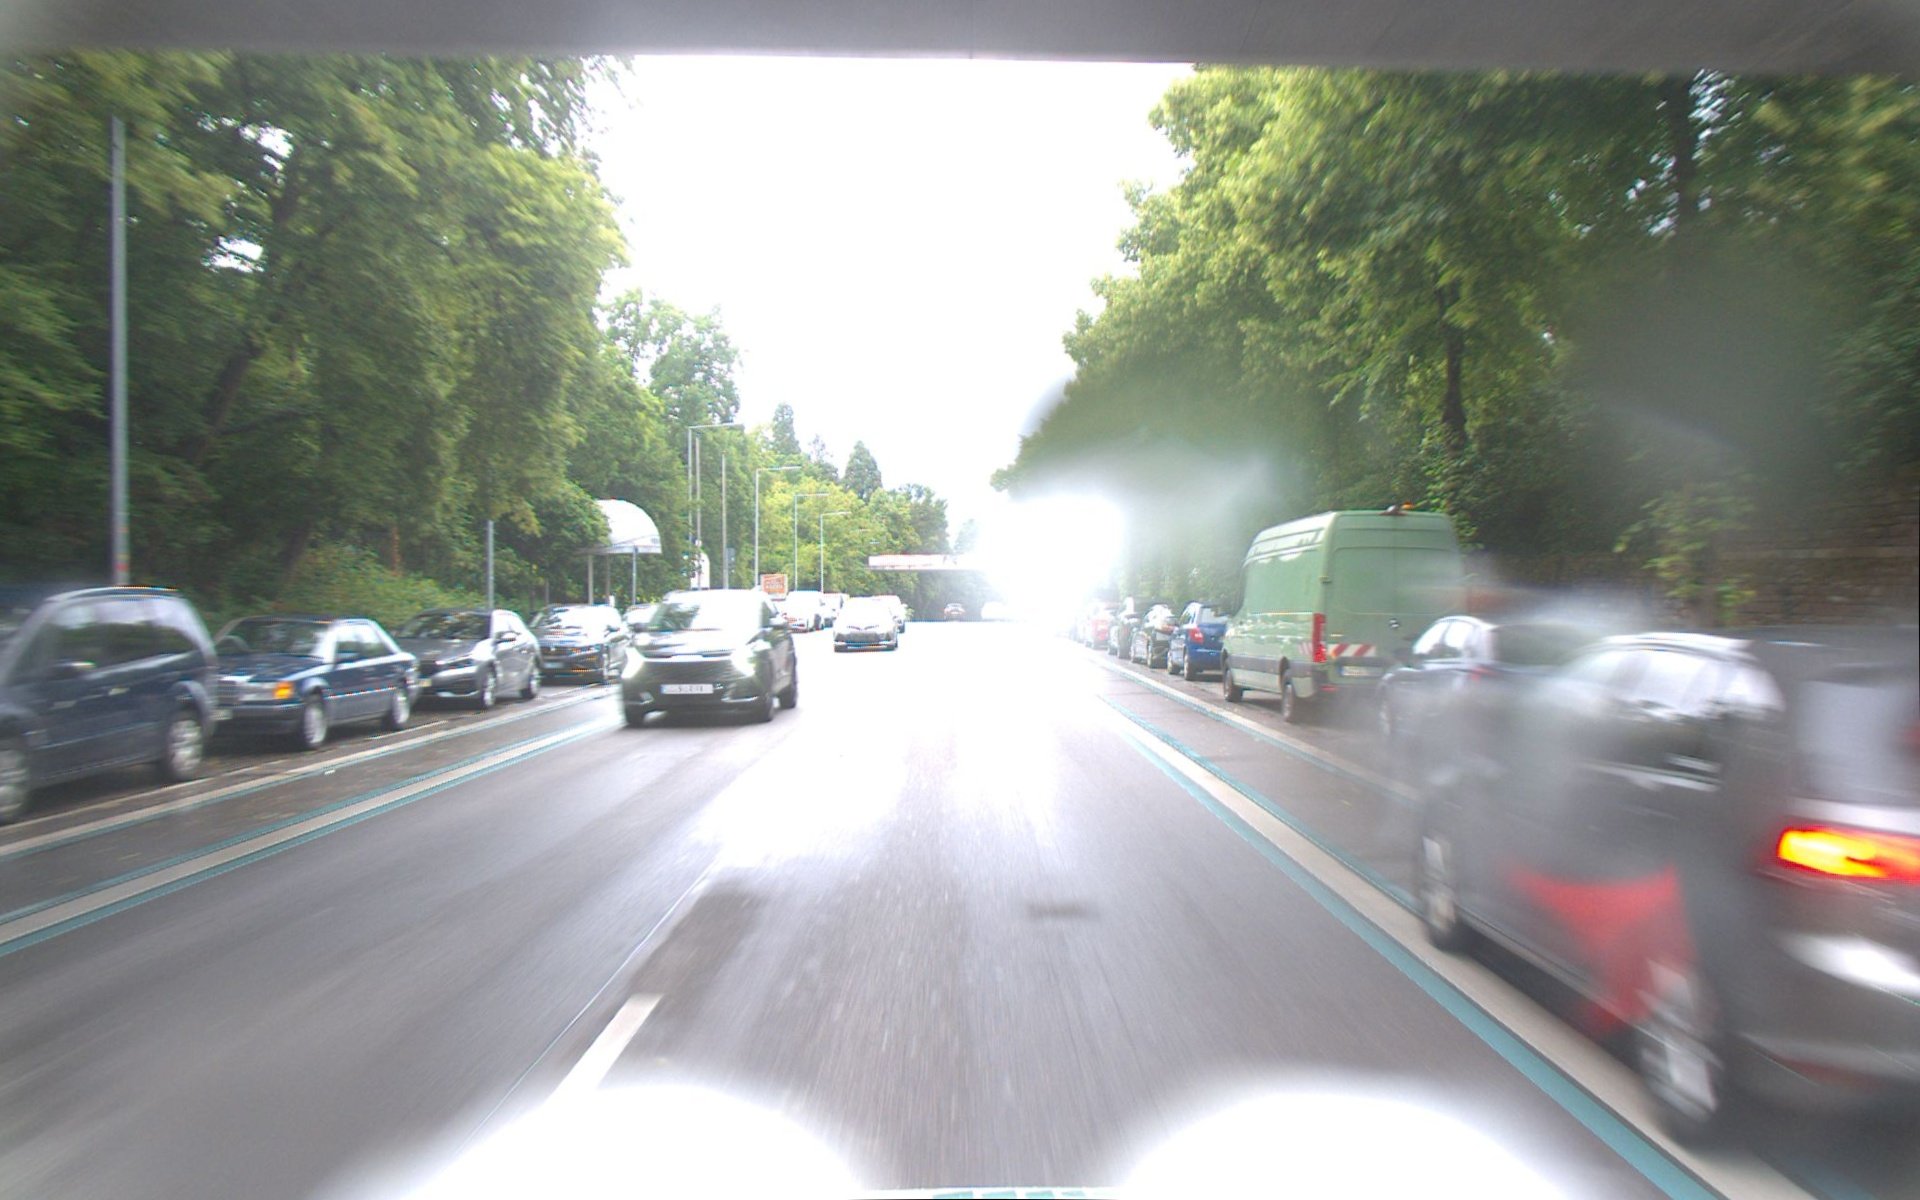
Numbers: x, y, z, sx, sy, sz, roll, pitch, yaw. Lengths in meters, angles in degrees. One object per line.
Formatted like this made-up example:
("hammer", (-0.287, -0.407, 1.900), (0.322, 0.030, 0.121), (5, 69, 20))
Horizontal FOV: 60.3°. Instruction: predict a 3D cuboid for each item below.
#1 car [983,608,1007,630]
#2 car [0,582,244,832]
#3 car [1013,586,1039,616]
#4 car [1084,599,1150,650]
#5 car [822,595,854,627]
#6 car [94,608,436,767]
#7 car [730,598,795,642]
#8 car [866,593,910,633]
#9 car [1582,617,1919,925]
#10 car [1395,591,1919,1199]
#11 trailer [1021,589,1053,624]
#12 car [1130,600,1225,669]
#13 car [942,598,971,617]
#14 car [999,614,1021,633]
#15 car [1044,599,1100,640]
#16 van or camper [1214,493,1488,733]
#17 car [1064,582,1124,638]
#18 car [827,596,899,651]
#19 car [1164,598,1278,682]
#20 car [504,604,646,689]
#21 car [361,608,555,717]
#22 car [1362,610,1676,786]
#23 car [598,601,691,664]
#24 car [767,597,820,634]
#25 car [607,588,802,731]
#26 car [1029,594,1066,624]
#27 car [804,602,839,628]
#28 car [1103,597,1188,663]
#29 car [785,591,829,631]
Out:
("car", (2.579, 1.408, 122.877), (1.696, 1.611, 4.036), (-1, 0, -1))
("car", (-7.815, 0.749, 13.356), (1.949, 1.772, 4.838), (0, 1, 0))
("car", (4.872, 0.095, 122.454), (1.850, 2.164, 4.045), (1, 0, 1))
("car", (4.859, 0.748, 51.701), (1.651, 1.478, 4.165), (1, 0, 0))
("car", (-7.936, 0.688, 107.665), (1.845, 1.979, 4.825), (0, 1, -2))
("car", (-7.769, 0.897, 19.092), (1.943, 1.498, 4.896), (1, 1, -1))
("car", (-7.192, 0.698, 60.609), (2.036, 1.508, 4.670), (1, 0, -3))
("car", (-3.197, 0.567, 74.100), (1.759, 1.680, 4.129), (-1, 0, 0))
("car", (5.496, 0.863, 10.259), (1.651, 1.441, 4.196), (0, 0, -1))
("car", (2.948, 0.740, 5.843), (1.781, 1.534, 4.139), (0, 0, 1))
("trailer", (4.900, 0.396, 105.663), (1.845, 2.204, 3.808), (-1, 0, 0))
("car", (5.030, 0.760, 38.654), (1.651, 1.481, 4.146), (1, 0, 0))
("car", (-0.304, 0.592, 135.743), (2.098, 1.518, 4.495), (1, 0, -4))
("car", (4.077, 1.913, 134.322), (1.695, 1.488, 4.045), (-1, 0, 1))
("car", (4.536, 0.763, 67.393), (1.753, 1.570, 4.887), (1, 0, -2))
("van or camper", (5.153, 0.143, 22.980), (2.001, 2.777, 6.899), (1, 0, -1))
("car", (5.007, 0.357, 62.514), (1.887, 2.057, 4.663), (0, 0, 0))
("car", (-2.858, 0.671, 49.556), (1.882, 1.588, 4.620), (0, 0, 0))
("car", (5.162, 0.758, 33.124), (1.651, 1.540, 3.835), (1, 0, 0))
("car", (-7.551, 0.862, 32.885), (1.917, 1.488, 4.754), (0, 1, -3))
("car", (-7.610, 0.894, 25.490), (1.748, 1.448, 4.295), (0, 1, -1))
("car", (5.228, 0.846, 16.052), (1.651, 1.441, 4.100), (1, 0, 0))
("car", (-7.994, 0.794, 42.191), (1.637, 1.483, 3.992), (1, 0, -1))
("car", (-7.932, 0.727, 79.301), (1.949, 1.633, 4.985), (-1, 1, 1))
("car", (-3.209, 0.686, 21.623), (1.926, 1.656, 4.320), (-1, 0, -1))
("car", (4.902, 0.509, 93.463), (1.696, 1.611, 4.152), (1, 0, -2))
("car", (-8.009, 0.856, 95.940), (1.696, 1.414, 4.369), (0, 1, -1))
("car", (4.874, 0.741, 43.890), (1.720, 1.617, 4.498), (1, 0, 0))
("car", (-7.884, 0.545, 85.483), (1.874, 1.965, 4.927), (0, 1, -1))
